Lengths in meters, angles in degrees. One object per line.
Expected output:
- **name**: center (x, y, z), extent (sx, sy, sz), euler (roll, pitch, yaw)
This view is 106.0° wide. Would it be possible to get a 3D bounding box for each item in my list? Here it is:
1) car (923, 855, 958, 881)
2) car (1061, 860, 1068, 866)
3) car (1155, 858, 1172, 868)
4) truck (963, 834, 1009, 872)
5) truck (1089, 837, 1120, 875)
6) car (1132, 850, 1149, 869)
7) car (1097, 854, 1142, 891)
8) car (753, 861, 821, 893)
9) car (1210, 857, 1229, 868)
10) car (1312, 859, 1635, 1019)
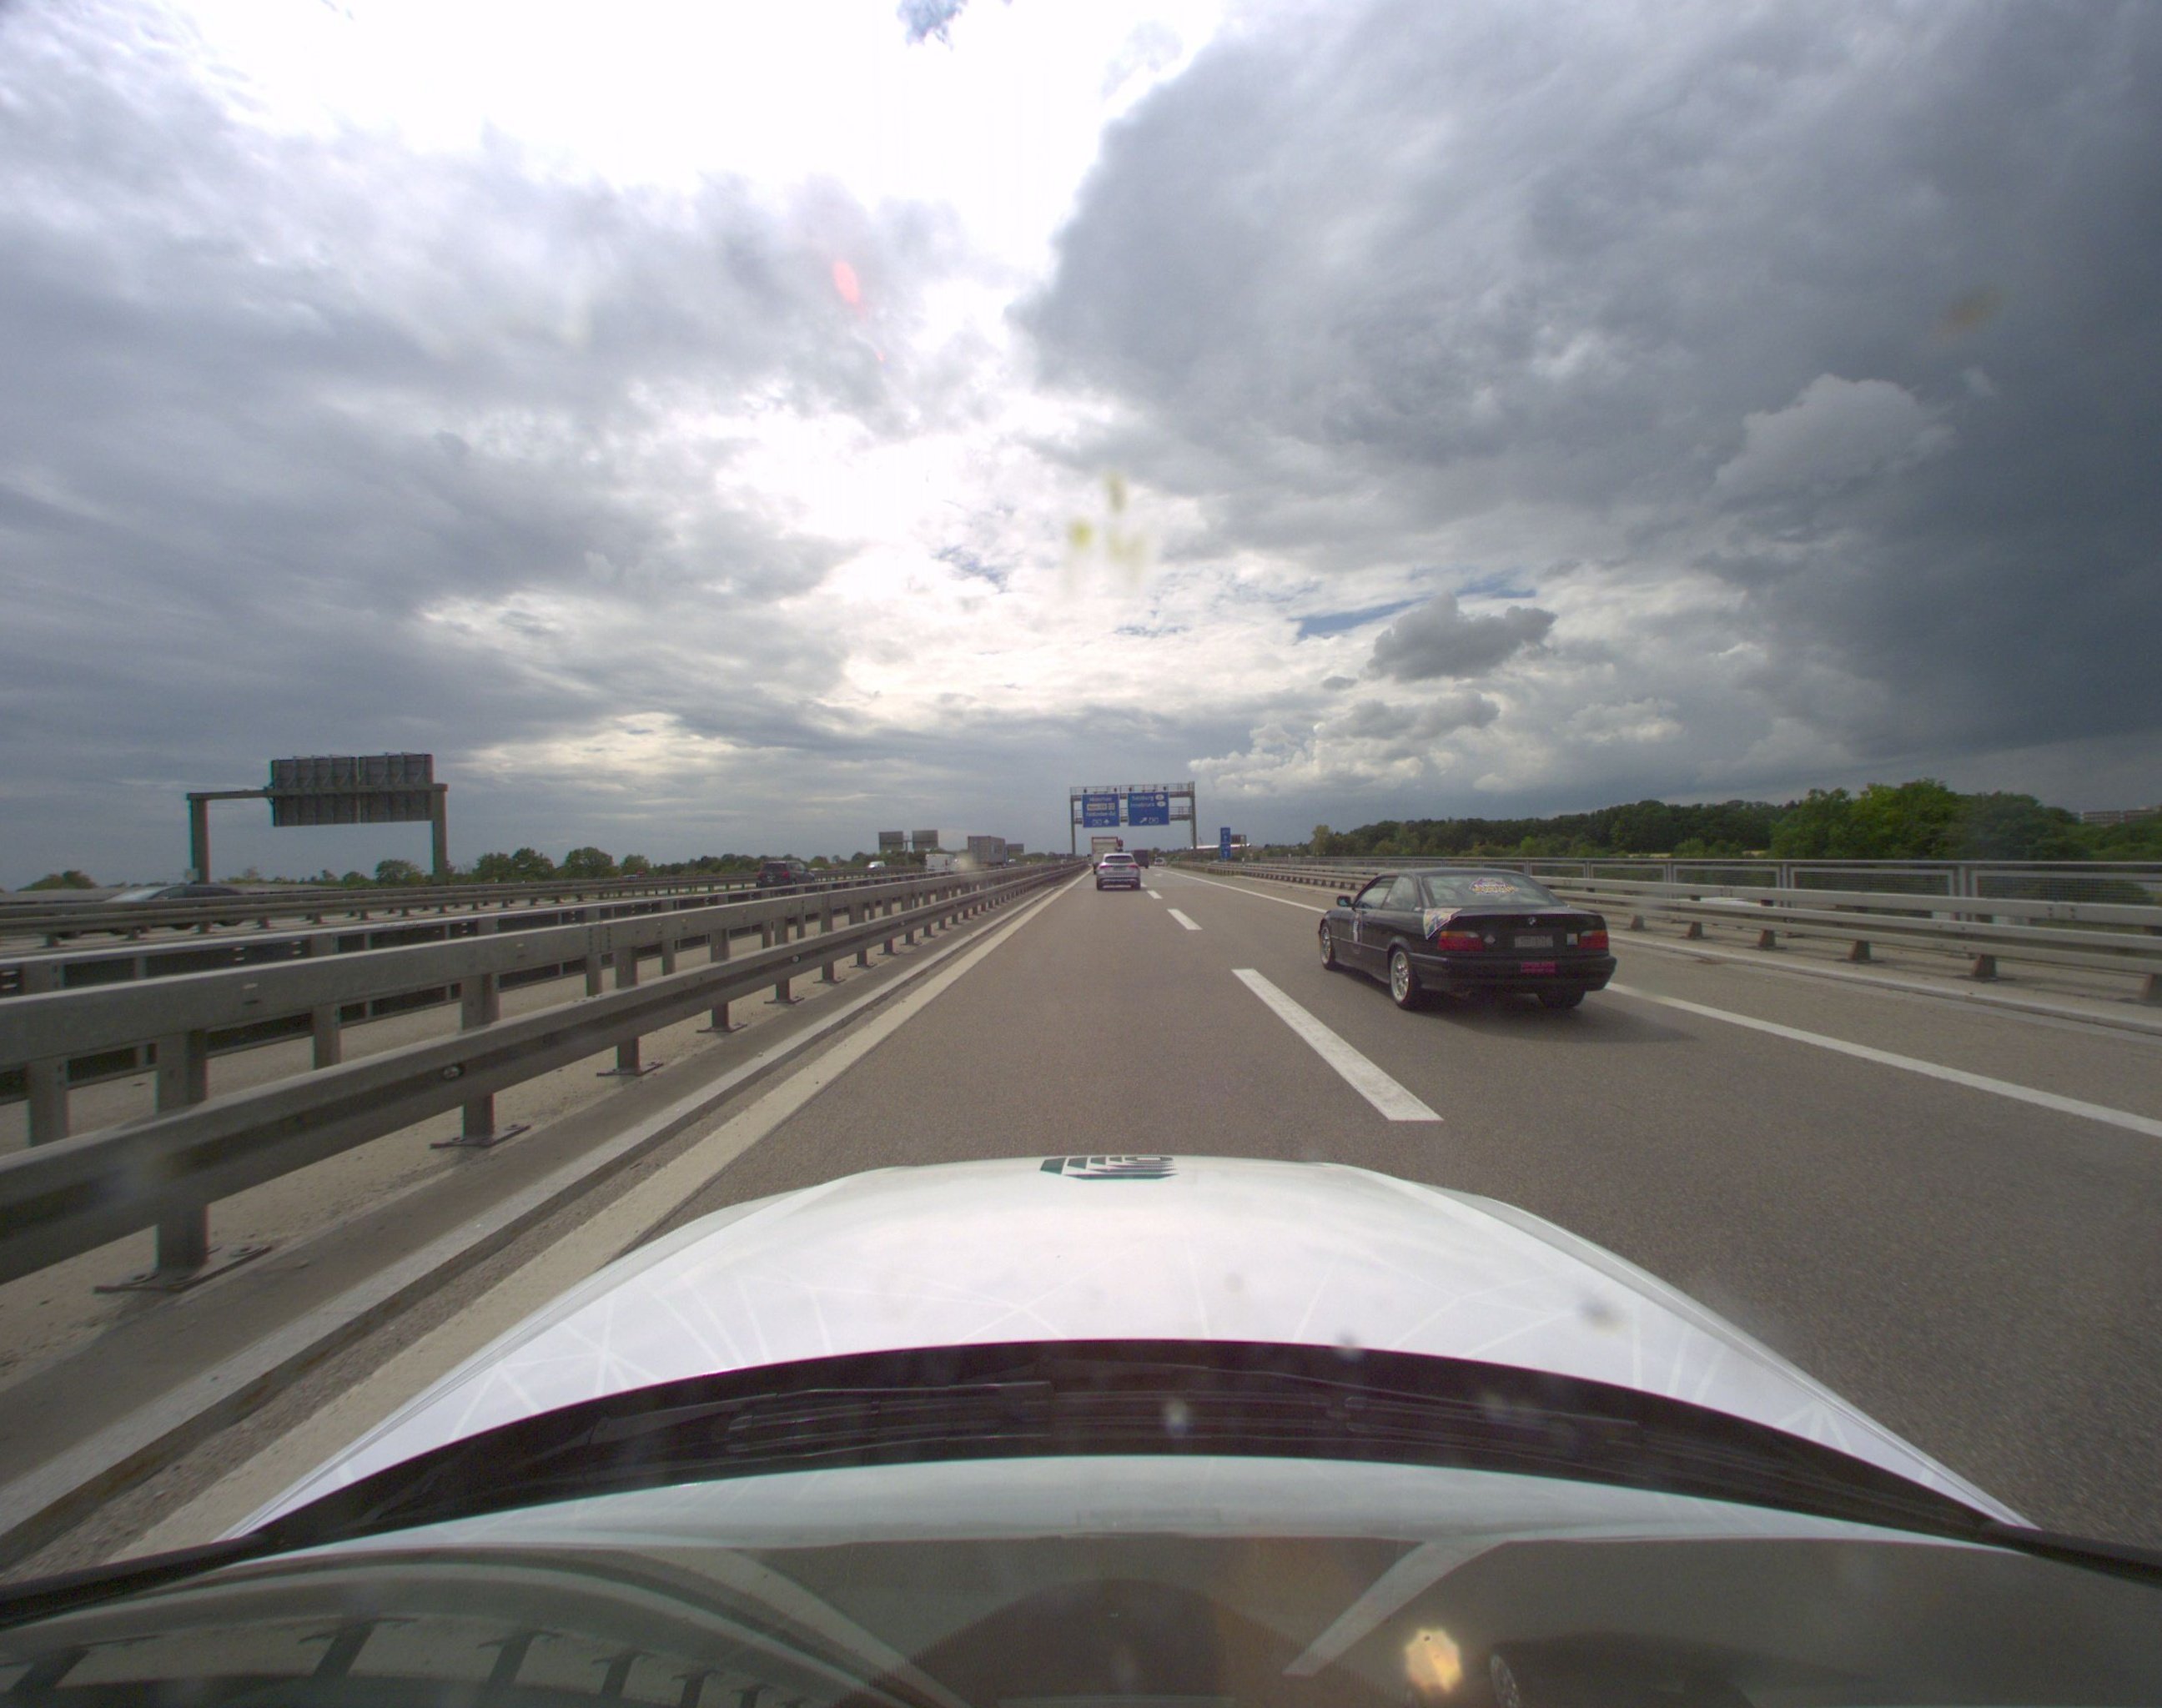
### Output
- **car**: center (-11.675, 1.130, 68.023), extent (1.986, 2.013, 4.376), euler (0, 0, 2)
- **car**: center (-5.082, 2.708, 249.051), extent (1.820, 1.563, 4.003), euler (-1, 0, 3)
- **car**: center (14.528, 1.602, 144.082), extent (1.976, 1.709, 4.021), euler (0, 0, 21)
- **truck**: center (-10.931, -0.176, 95.341), extent (3.172, 4.019, 16.077), euler (0, 0, 1)
- **truck**: center (2.099, 0.198, 71.442), extent (2.559, 3.126, 8.637), euler (0, -1, 2)
- **car**: center (7.263, 0.631, 99.524), extent (1.899, 2.262, 4.650), euler (0, 0, 1)
- **car**: center (1.673, 0.774, 36.418), extent (1.813, 1.514, 4.000), euler (0, 0, 0)
- **car**: center (-15.744, 1.217, 43.930), extent (1.874, 1.546, 4.616), euler (0, 0, 1)
- **car**: center (28.340, 1.802, 166.926), extent (4.022, 2.013, 1.762), euler (3, 0, -43)
- **car**: center (3.909, 0.727, 9.027), extent (1.697, 1.281, 4.370), euler (0, 0, 3)
